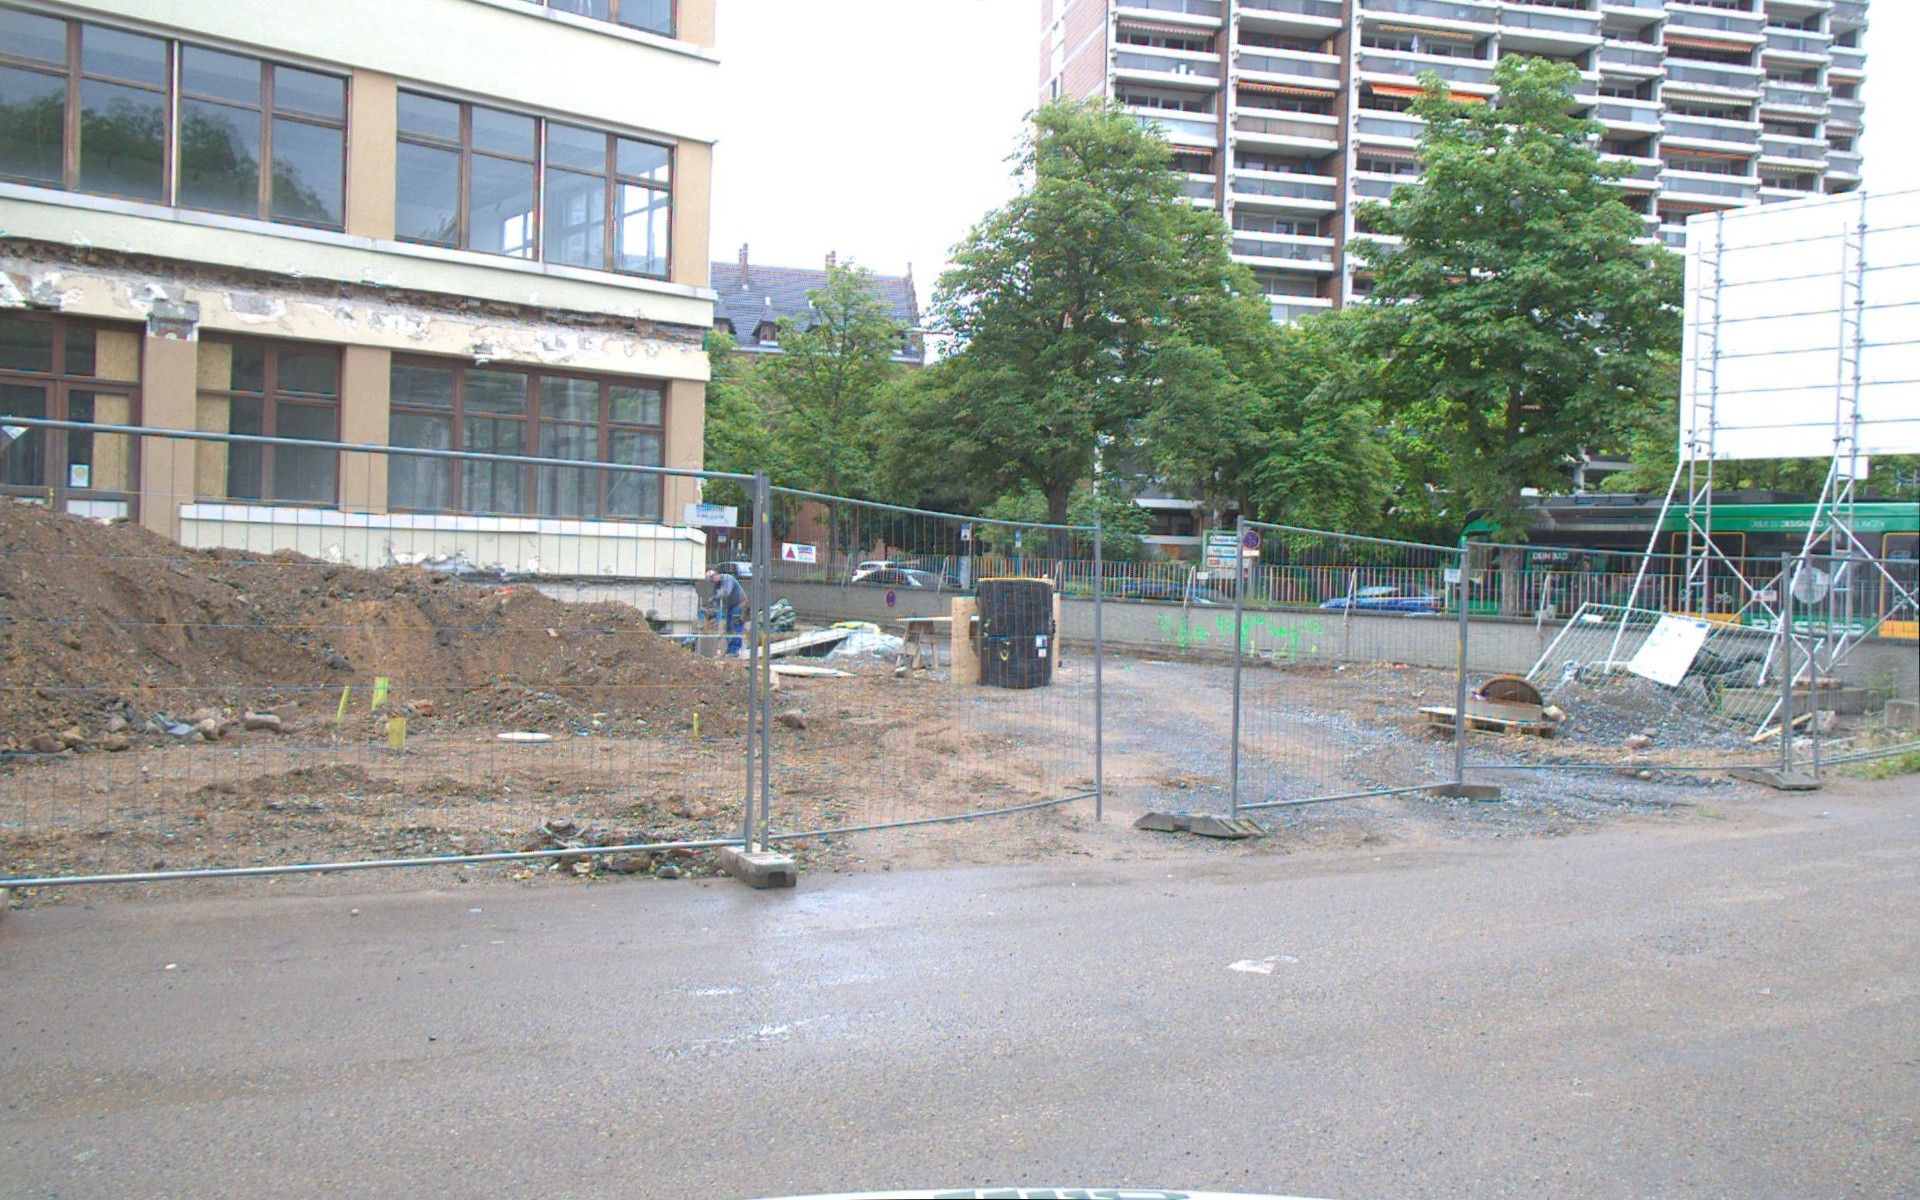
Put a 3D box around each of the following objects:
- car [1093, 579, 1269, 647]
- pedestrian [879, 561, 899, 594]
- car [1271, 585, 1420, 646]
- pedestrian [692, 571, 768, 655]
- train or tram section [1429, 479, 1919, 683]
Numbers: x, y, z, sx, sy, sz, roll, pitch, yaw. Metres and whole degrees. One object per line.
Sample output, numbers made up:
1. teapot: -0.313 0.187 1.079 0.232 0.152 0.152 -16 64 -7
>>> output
1. car: 5.135 0.282 38.849 1.815 1.443 3.945 1 1 -39
2. pedestrian: -3.438 -1.085 80.023 0.513 1.554 0.840 3 1 39
3. car: 10.792 0.406 46.533 1.587 1.545 3.945 1 1 -38
4. pedestrian: -4.125 0.234 29.675 0.975 1.463 0.916 2 0 -43
5. train or tram section: 15.677 -0.452 34.138 2.641 3.677 12.287 1 1 -38
